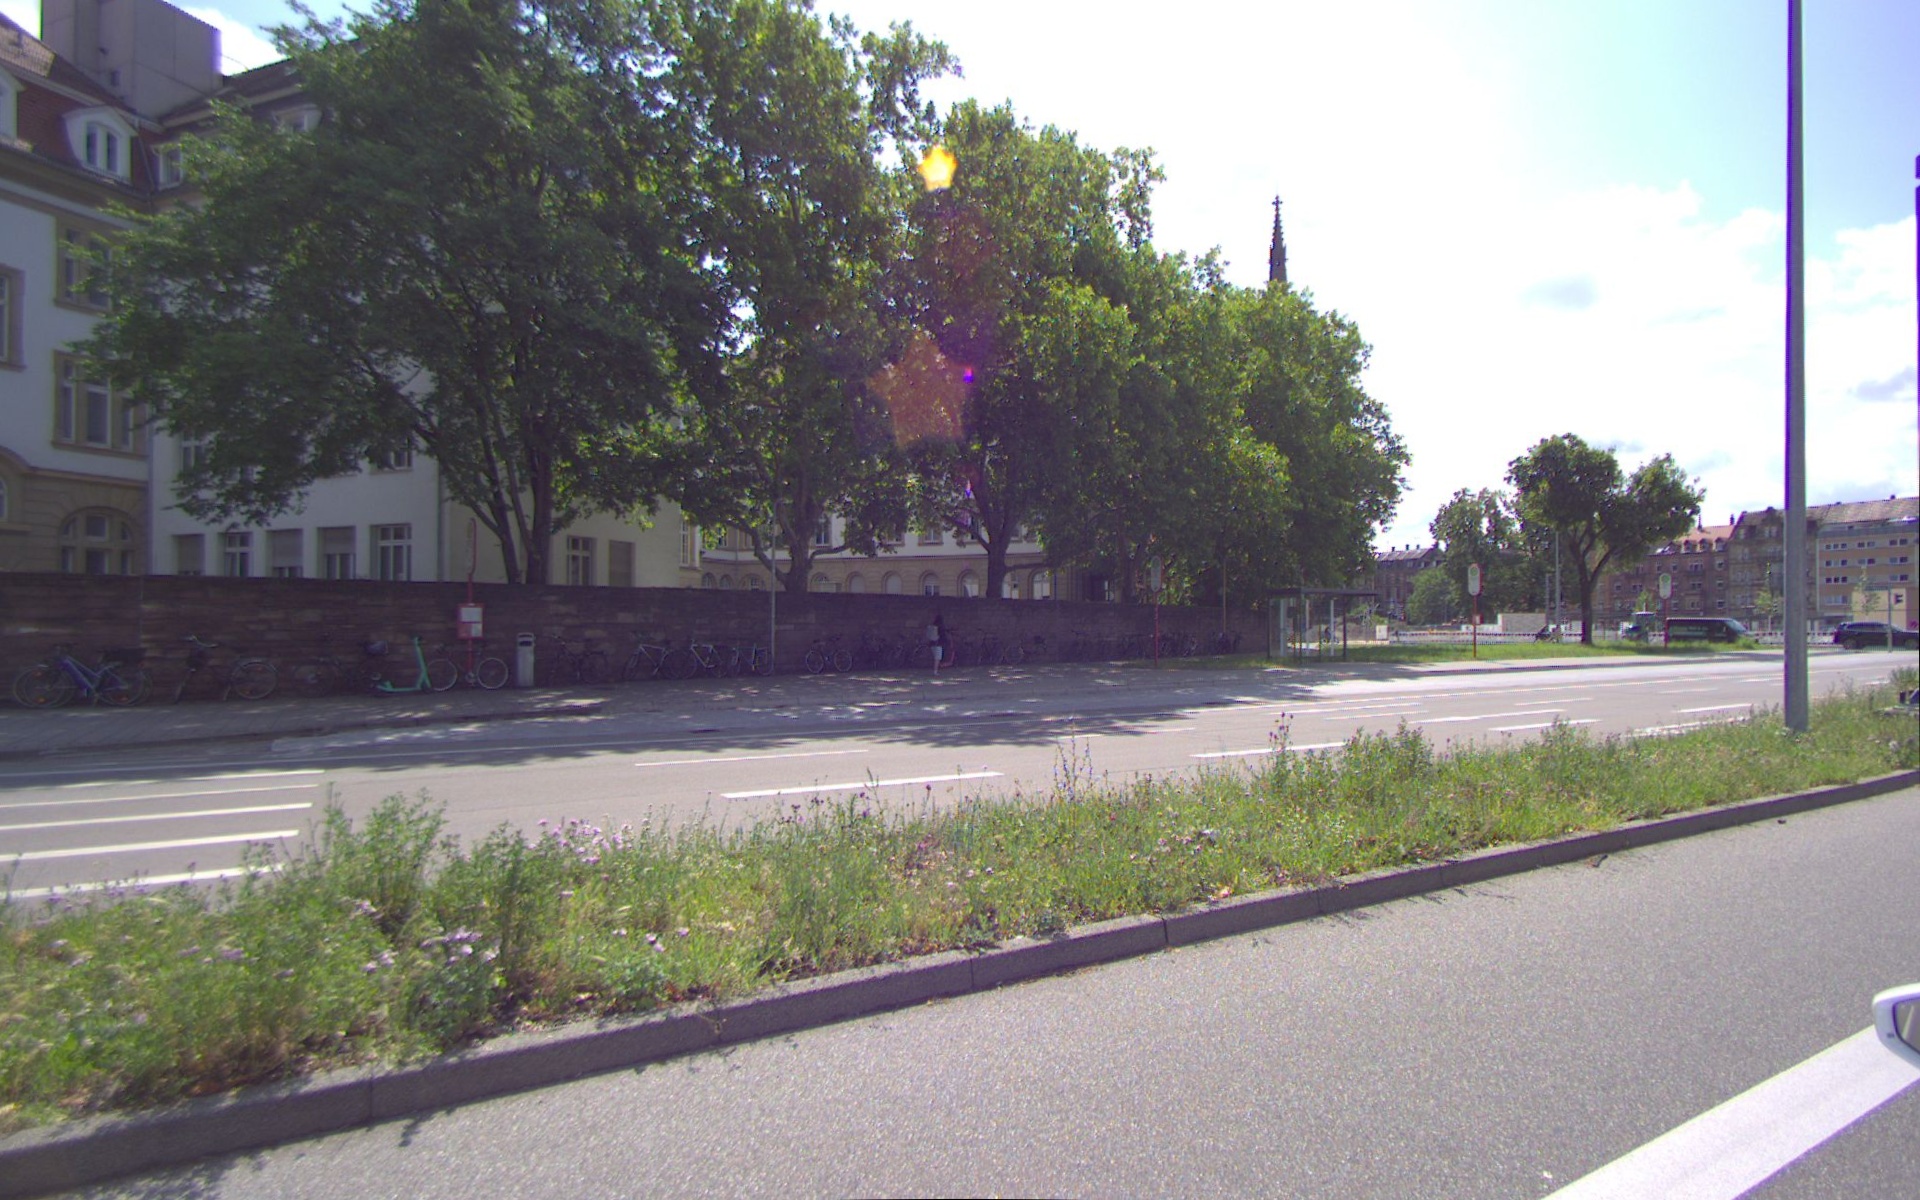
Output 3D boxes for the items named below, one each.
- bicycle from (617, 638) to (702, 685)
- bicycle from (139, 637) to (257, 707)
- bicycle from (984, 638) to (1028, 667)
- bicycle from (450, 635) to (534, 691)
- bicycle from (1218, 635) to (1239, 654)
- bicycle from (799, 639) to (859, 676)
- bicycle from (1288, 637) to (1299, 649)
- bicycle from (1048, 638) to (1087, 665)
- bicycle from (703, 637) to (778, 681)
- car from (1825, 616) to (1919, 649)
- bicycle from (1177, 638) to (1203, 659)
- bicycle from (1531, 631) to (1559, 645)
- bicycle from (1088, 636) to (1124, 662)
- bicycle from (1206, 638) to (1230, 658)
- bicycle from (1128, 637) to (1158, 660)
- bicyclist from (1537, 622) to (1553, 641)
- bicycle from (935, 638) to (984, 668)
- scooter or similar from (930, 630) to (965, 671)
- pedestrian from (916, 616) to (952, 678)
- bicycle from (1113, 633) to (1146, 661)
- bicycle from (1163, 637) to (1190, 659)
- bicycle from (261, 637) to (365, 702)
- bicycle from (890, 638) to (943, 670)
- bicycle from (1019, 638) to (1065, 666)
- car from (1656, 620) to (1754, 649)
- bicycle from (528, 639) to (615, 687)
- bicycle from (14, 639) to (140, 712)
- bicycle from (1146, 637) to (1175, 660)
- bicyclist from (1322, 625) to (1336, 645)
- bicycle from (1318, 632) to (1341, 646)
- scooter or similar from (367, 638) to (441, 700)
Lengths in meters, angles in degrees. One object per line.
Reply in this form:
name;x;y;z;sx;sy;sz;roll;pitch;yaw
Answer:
bicycle;-7.203;1.449;24.176;1.936;1.061;0.538;1;-1;-44
bicycle;-13.558;1.259;17.899;0.525;1.167;1.588;-1;-1;36
bicycle;1.549;1.754;33.566;0.538;0.914;1.656;-1;-1;43
bicycle;-10.029;1.331;21.555;1.584;1.158;0.427;1;-1;-44
bicycle;13.470;2.239;50.333;0.536;0.914;1.661;0;-1;32
bicycle;-3.580;1.551;27.511;1.654;0.962;0.538;1;-1;-44
bicycle;25.200;3.236;75.906;0.534;0.914;1.666;0;-1;10
bicycle;3.902;1.851;36.351;0.537;0.914;1.656;-1;-1;42
bicycle;-5.588;1.486;25.621;1.883;1.061;0.538;1;-1;-44
car;58.510;2.078;64.170;2.079;2.040;4.598;2;-2;-35
bicycle;10.443;2.174;45.581;0.446;0.914;1.787;-1;-1;37
bicycle;46.116;2.985;79.184;0.543;1.044;1.906;1;-1;-38
bicycle;5.607;1.858;38.509;0.537;0.964;1.657;-1;-1;41
bicycle;12.452;2.322;48.511;0.537;0.914;1.659;-1;-1;37
bicycle;7.517;1.994;41.289;0.537;0.914;1.659;-1;-1;37
bicyclist;46.135;2.444;79.171;0.546;1.493;0.960;1;-1;-38
bicycle;0.002;1.664;31.680;1.654;0.914;0.538;1;-1;-44
scooter or similar;-0.384;1.504;30.301;0.426;1.199;1.188;-1;-1;37
pedestrian;-0.695;1.257;27.221;0.607;1.638;0.754;1;0;37
bicycle;6.718;1.858;39.777;0.537;1.065;1.615;-1;-1;41
bicycle;9.508;2.088;44.062;0.537;0.914;1.659;-1;-1;37
bicycle;-12.362;1.313;19.241;0.525;1.167;1.588;-1;-1;36
bicycle;-1.307;1.611;30.299;1.654;0.914;0.538;2;-2;-44
bicycle;2.848;1.787;34.756;1.649;0.914;0.498;1;-1;-36
car;50.115;2.285;67.689;1.909;1.904;4.977;0;-1;-34
bicycle;-8.770;1.416;22.724;1.787;1.021;0.476;1;-1;-41
bicycle;-14.953;1.250;17.034;1.583;1.167;0.397;1;-1;-44
bicycle;8.530;2.056;42.679;0.537;0.914;1.659;-1;-1;37
bicyclist;34.983;3.344;95.218;0.588;1.869;1.110;0;-1;-38
bicycle;35.015;3.716;95.167;0.599;1.307;2.048;1;-1;-38
scooter or similar;-10.917;1.342;19.743;0.426;1.167;1.188;-1;-1;37
